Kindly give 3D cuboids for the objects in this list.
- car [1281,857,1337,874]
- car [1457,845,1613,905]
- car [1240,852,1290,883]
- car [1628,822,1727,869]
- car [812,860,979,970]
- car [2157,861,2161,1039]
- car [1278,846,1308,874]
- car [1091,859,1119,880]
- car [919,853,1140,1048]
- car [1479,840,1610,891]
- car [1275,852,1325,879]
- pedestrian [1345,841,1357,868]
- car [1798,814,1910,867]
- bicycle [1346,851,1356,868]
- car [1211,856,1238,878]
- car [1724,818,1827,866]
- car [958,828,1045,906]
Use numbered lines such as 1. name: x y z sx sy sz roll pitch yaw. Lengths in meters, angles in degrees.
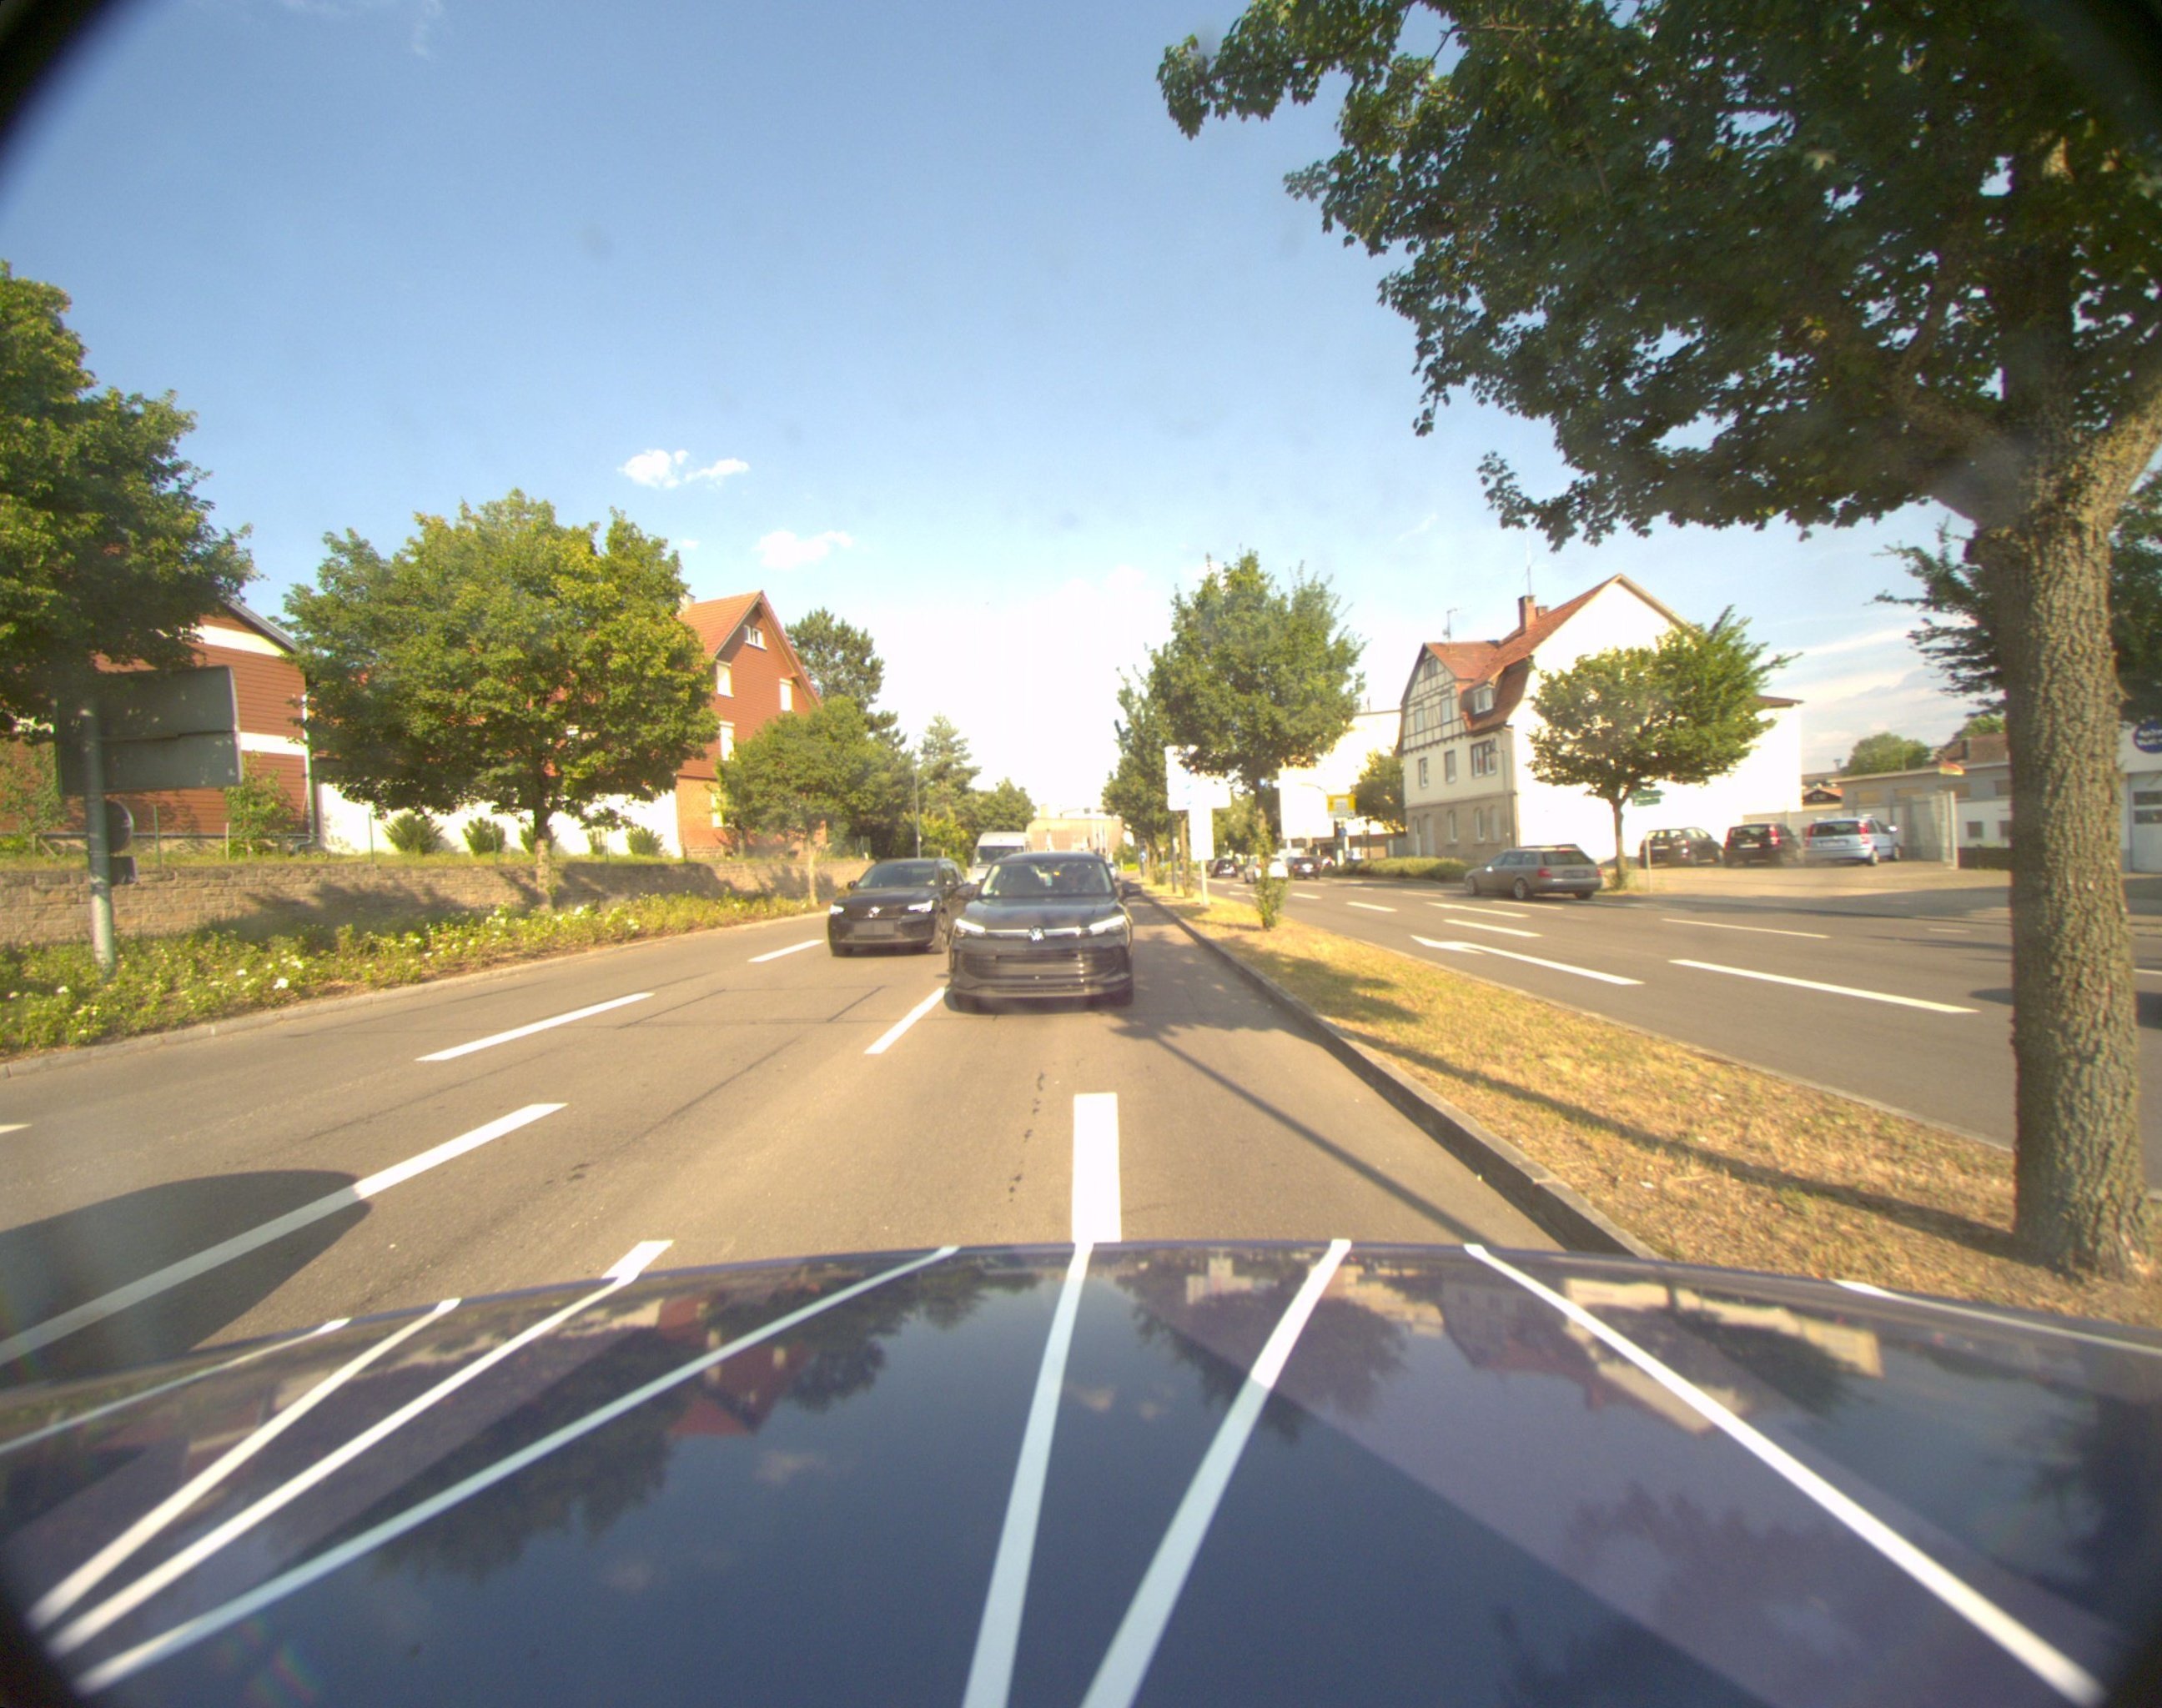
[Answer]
1. car: 20.613 1.022 68.757 4.660 1.346 1.768 -2 0 9
2. car: 12.752 0.522 21.748 1.690 1.454 4.711 -2 0 1
3. car: 9.866 0.702 40.993 1.805 1.488 3.955 -2 0 1
4. car: 23.128 -0.347 29.433 4.006 1.543 1.764 -4 1 -33
5. car: -3.153 0.971 13.855 1.886 1.599 4.128 -2 0 2
6. car: 8.986 0.700 3.475 1.785 1.341 4.478 -2 0 0
7. car: 15.658 0.404 55.976 1.825 1.912 4.951 -2 0 19
8. car: 1.809 1.120 55.844 1.765 1.346 4.133 -2 0 5
9. car: -0.397 0.849 9.056 1.894 1.647 4.730 -2 0 1
10. car: 15.718 0.363 26.058 1.839 1.435 4.195 -5 0 1
11. car: 13.037 0.652 45.564 1.811 1.488 4.245 -2 0 1
12. pedestrian: 19.654 0.033 55.321 0.698 1.971 0.589 -2 1 19
13. car: 24.951 -0.446 24.499 4.006 1.543 1.763 -2 1 -33
14. bicycle: 20.026 0.391 56.326 0.680 1.215 1.516 -2 1 19
15. car: 10.677 0.940 56.785 1.772 1.442 4.110 -2 0 9
16. car: 24.876 -0.443 27.173 4.006 1.543 1.763 -2 1 -33
17. car: -2.787 0.418 28.331 2.370 2.532 6.193 -2 0 2
